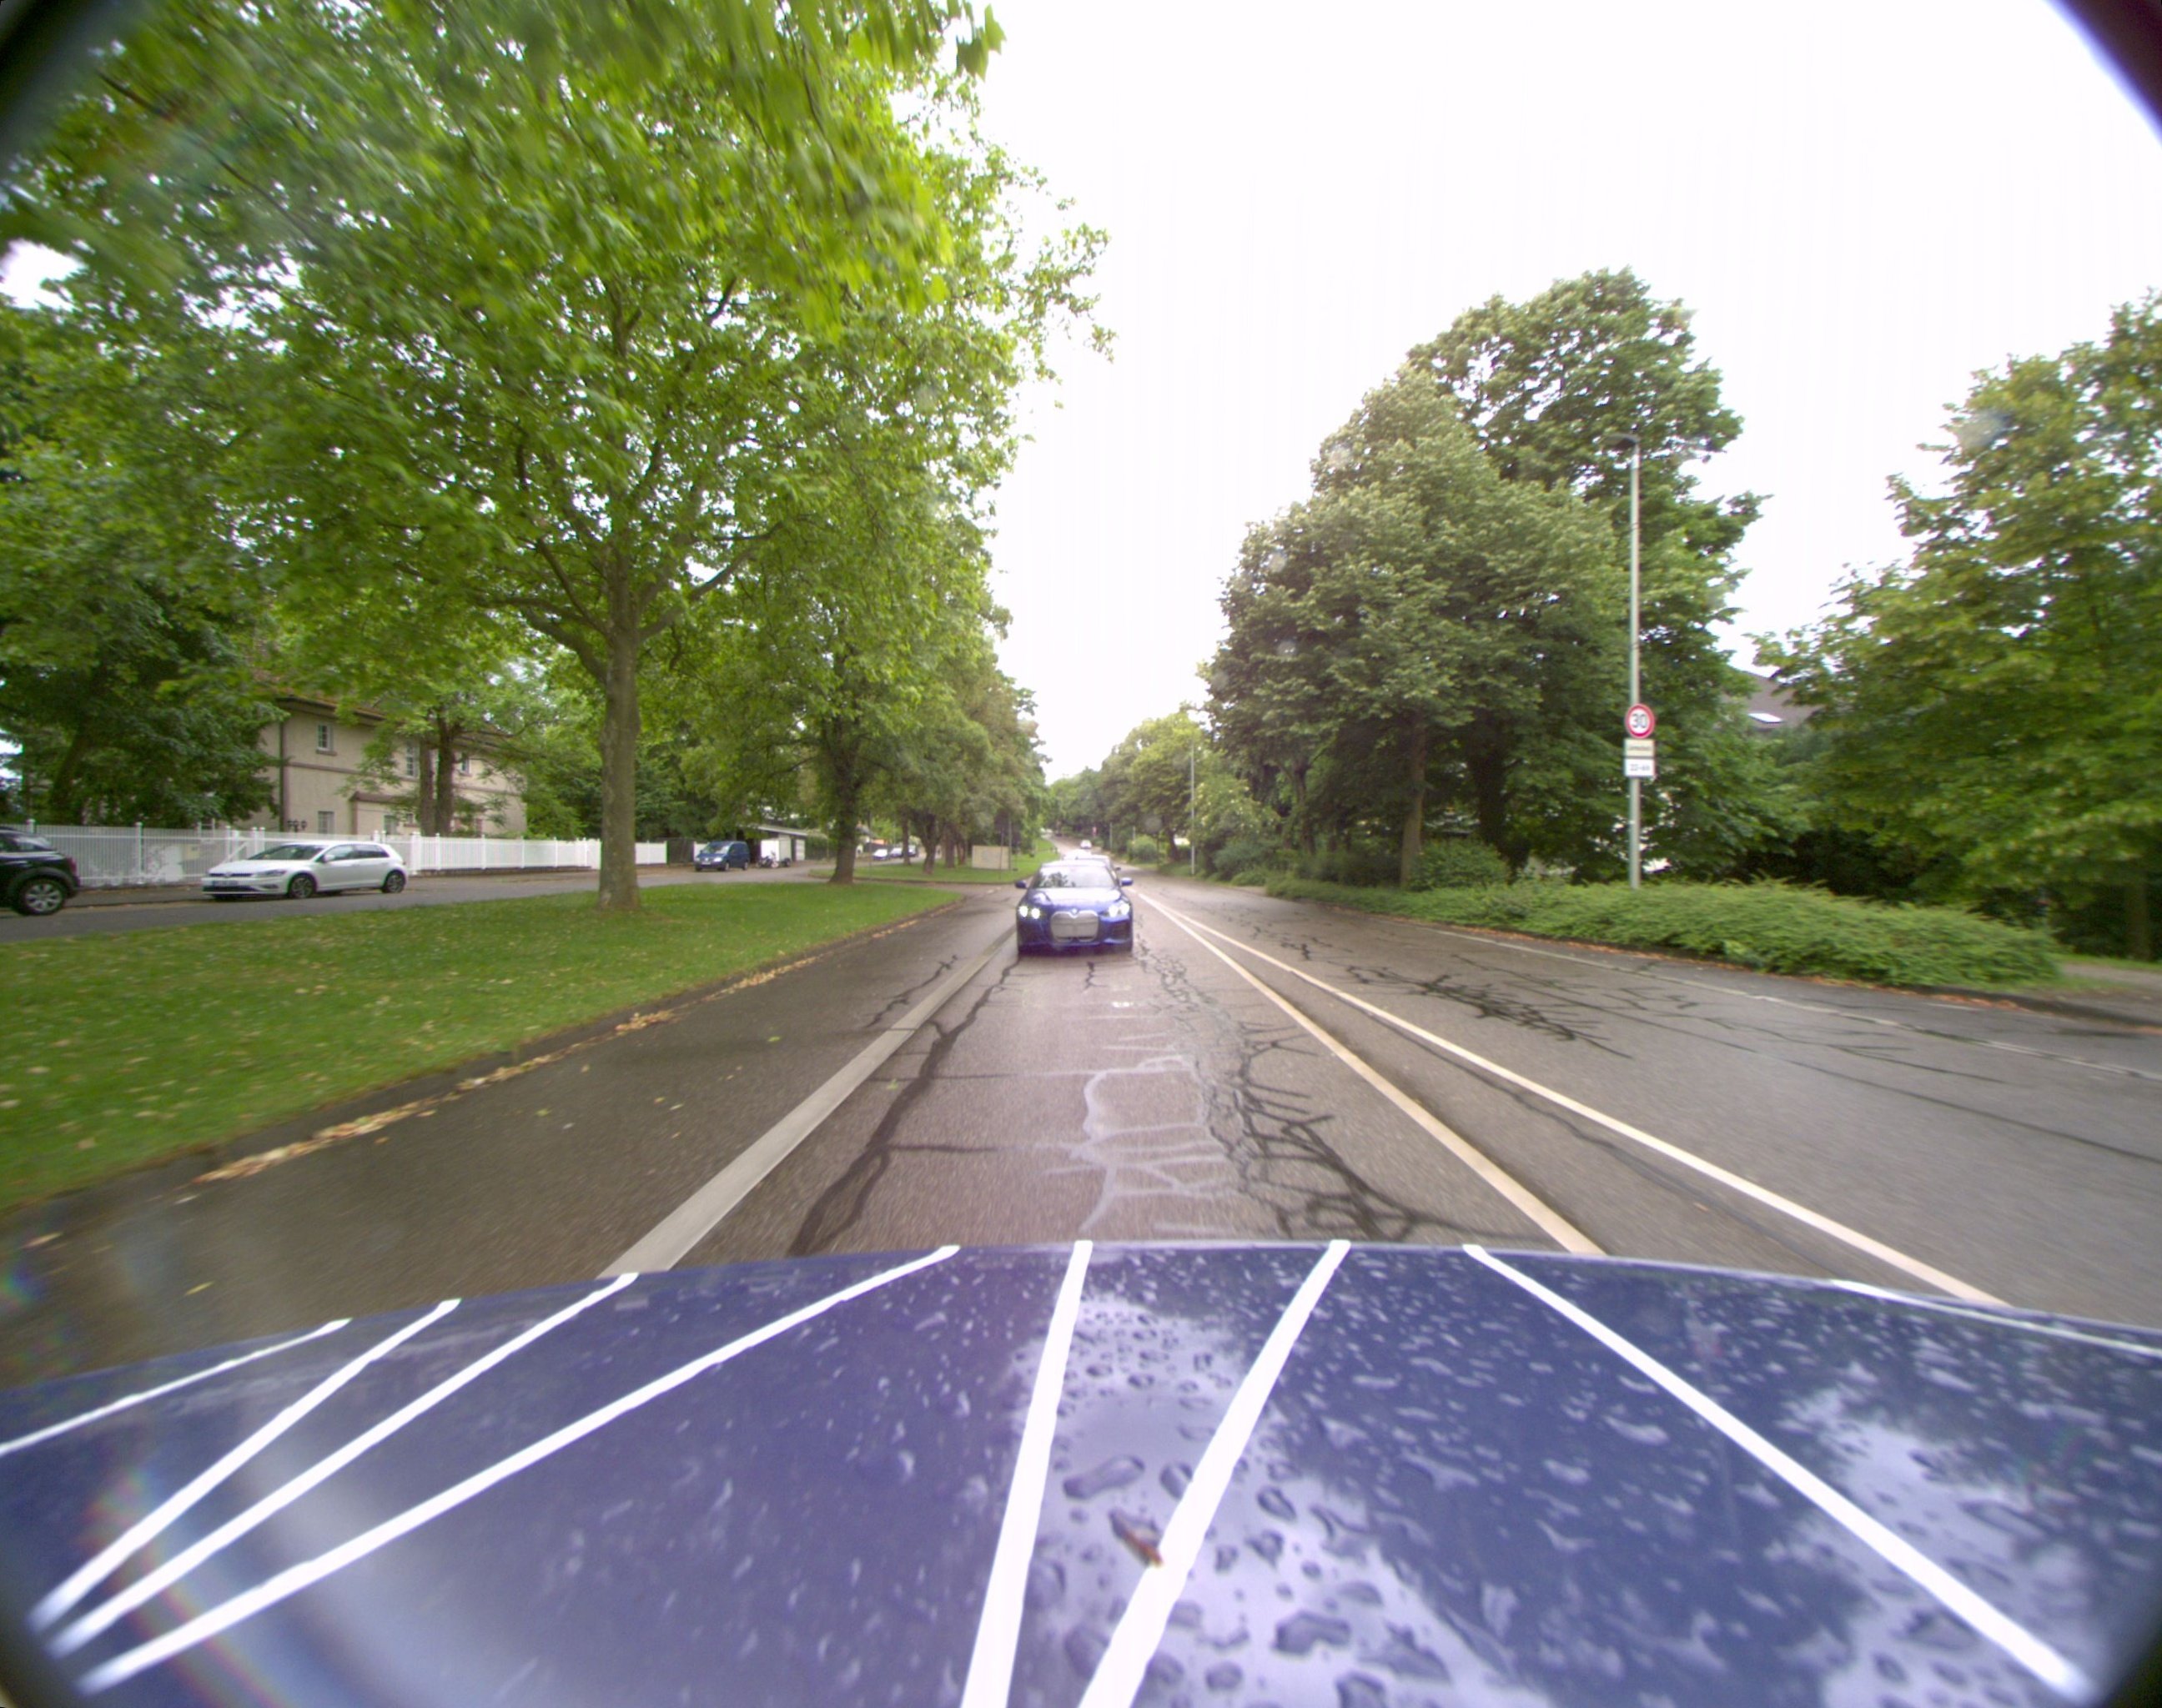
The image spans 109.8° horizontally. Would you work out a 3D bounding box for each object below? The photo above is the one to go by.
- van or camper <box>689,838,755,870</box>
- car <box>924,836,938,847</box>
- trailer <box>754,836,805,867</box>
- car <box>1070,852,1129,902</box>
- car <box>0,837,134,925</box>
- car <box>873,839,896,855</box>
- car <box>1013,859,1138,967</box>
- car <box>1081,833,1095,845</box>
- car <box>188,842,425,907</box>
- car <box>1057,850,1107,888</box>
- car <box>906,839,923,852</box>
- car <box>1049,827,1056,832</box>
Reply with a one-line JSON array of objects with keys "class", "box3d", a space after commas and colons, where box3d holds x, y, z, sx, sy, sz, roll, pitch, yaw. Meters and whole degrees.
[{"class": "van or camper", "box3d": [-21.419, -0.032, 45.579, 1.999, 1.798, 4.772, -2, 1, -6]}, {"class": "car", "box3d": [-28.684, -2.347, 145.184, 1.999, 2.002, 3.998, 1, 1, -3]}, {"class": "trailer", "box3d": [-21.867, -0.237, 55.307, 1.771, 2.104, 5.190, -2, 1, -3]}, {"class": "car", "box3d": [0.578, 0.737, 26.426, 1.826, 1.471, 4.066, -2, 1, -1]}, {"class": "car", "box3d": [-18.945, 0.487, 12.344, 1.999, 1.462, 4.122, -2, 1, -4]}, {"class": "car", "box3d": [-25.071, -0.900, 97.140, 1.999, 2.002, 3.999, 1, 1, -1]}, {"class": "car", "box3d": [-0.121, 0.893, 13.394, 1.826, 1.471, 4.066, -2, 1, -1]}, {"class": "car", "box3d": [1.221, -2.775, 139.728, 2.000, 2.001, 4.572, 0, -1, -6]}, {"class": "car", "box3d": [-19.698, 0.451, 19.654, 1.999, 1.440, 4.122, -2, 1, -4]}, {"class": "car", "box3d": [0.006, 0.621, 33.655, 2.032, 1.471, 4.066, -2, 1, -1]}, {"class": "car", "box3d": [-26.498, -1.305, 121.188, 1.999, 2.002, 3.998, 1, 1, -3]}, {"class": "car", "box3d": [-8.247, -7.165, 220.807, 1.825, 1.471, 4.067, 0, 1, 2]}]
